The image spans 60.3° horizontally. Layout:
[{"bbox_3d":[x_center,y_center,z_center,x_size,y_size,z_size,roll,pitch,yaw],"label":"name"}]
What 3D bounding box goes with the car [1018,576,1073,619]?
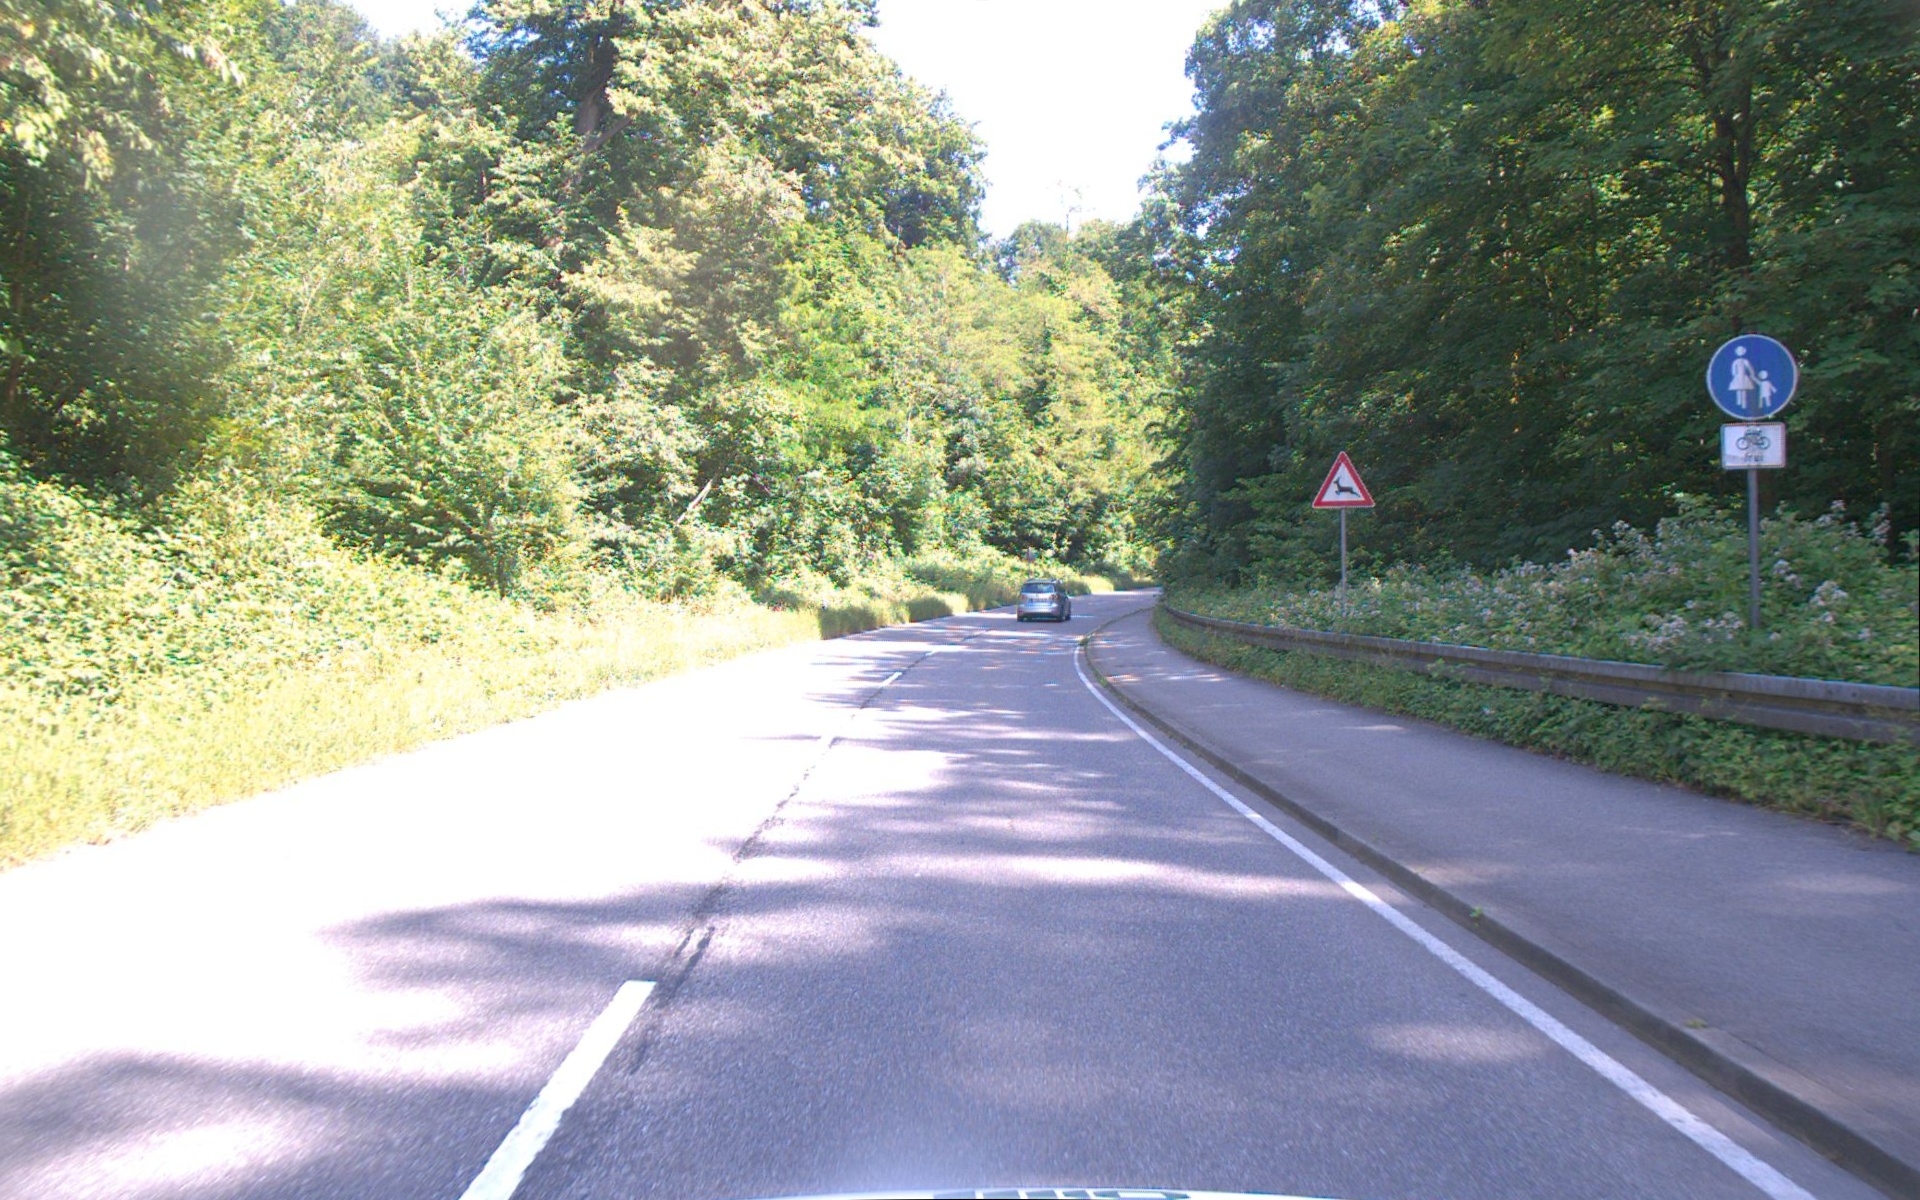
[{"bbox_3d":[3.294,-0.120,63.202,1.714,1.546,4.163,1,1,8],"label":"car"}]
